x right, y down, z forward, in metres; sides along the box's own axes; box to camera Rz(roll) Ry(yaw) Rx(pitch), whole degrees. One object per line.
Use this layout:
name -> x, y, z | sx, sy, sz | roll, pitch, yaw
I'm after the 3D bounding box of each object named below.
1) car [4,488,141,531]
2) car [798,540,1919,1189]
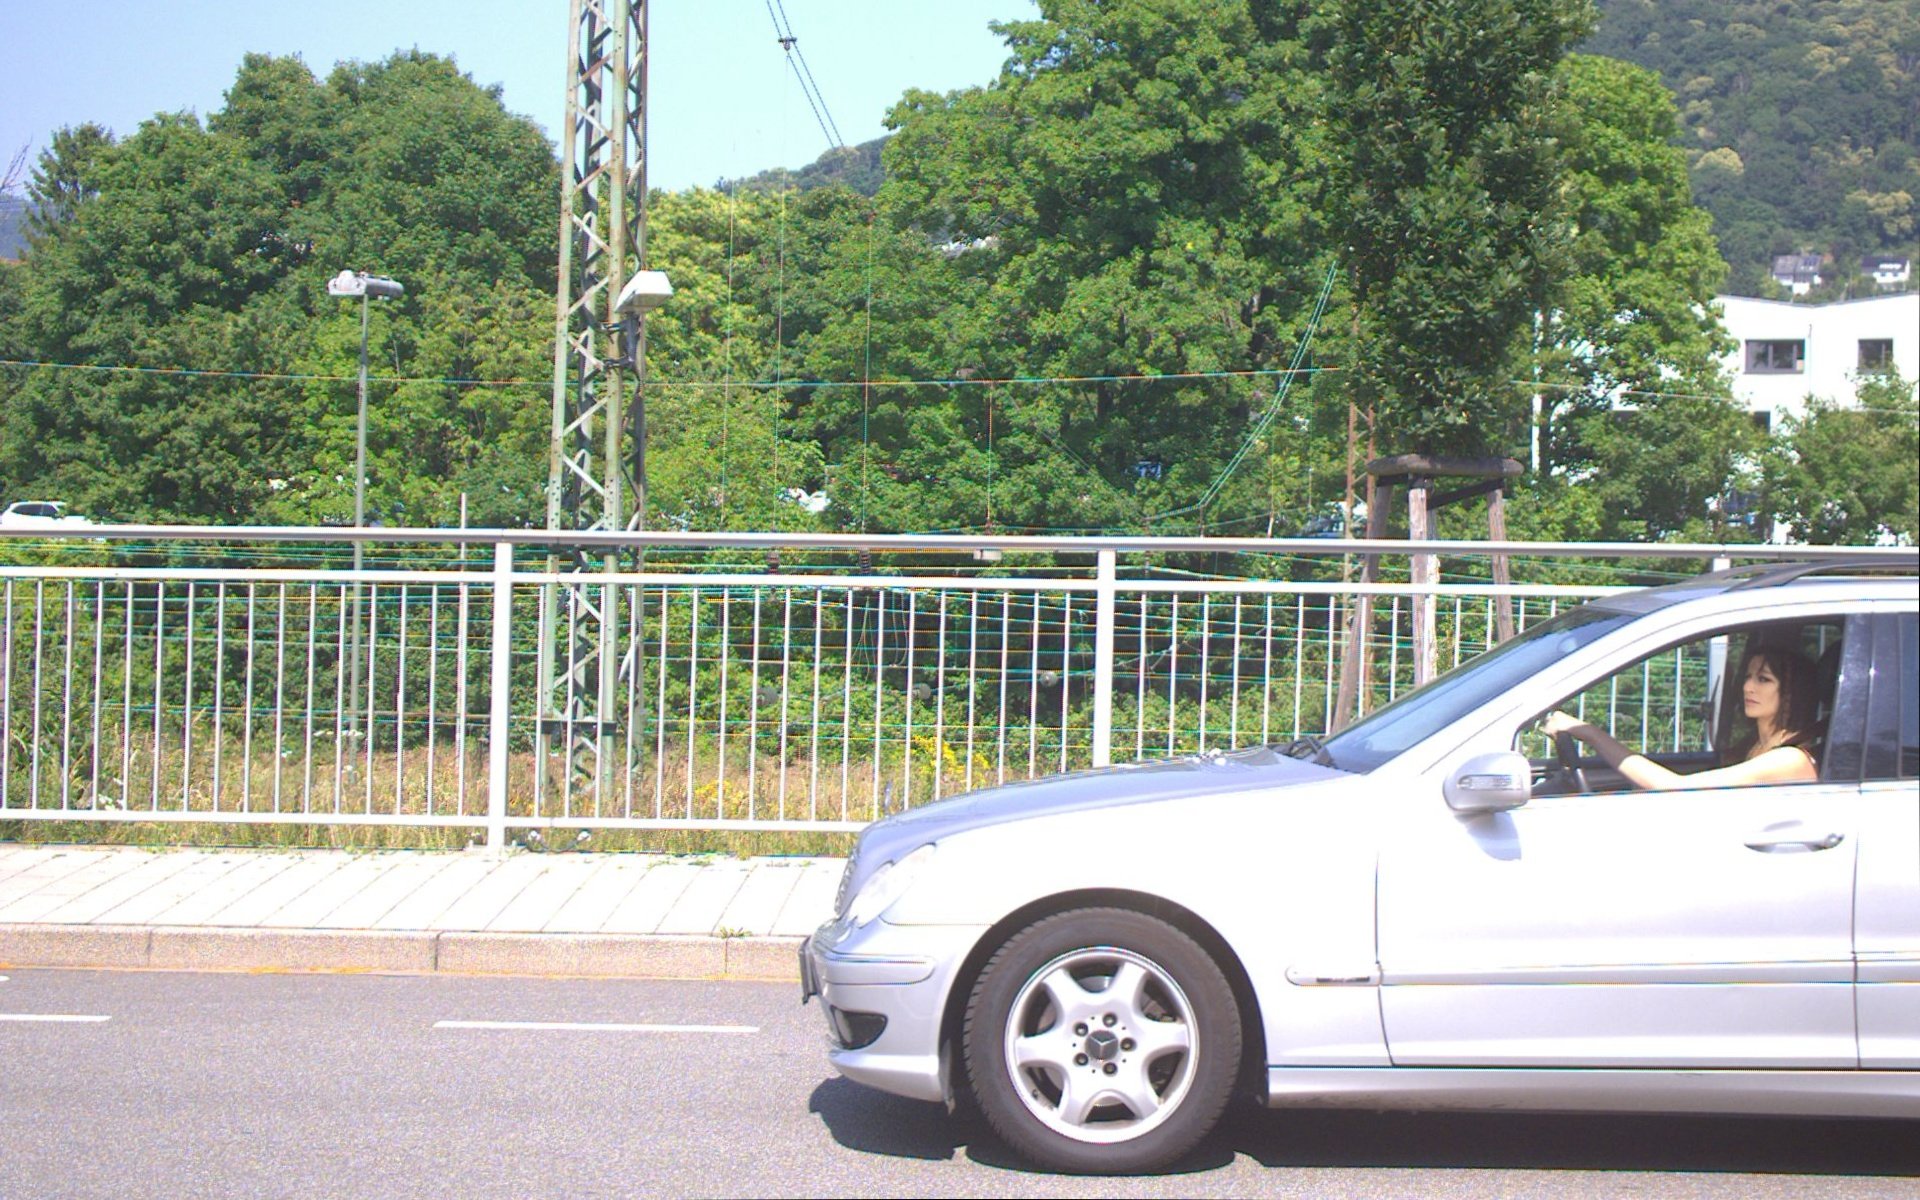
car -> -29.122, -2.981, 112.758 | 4.309, 1.362, 1.863 | 2, 2, 31
car -> 1.864, 0.589, 8.451 | 4.372, 1.399, 1.714 | 1, 0, 2
